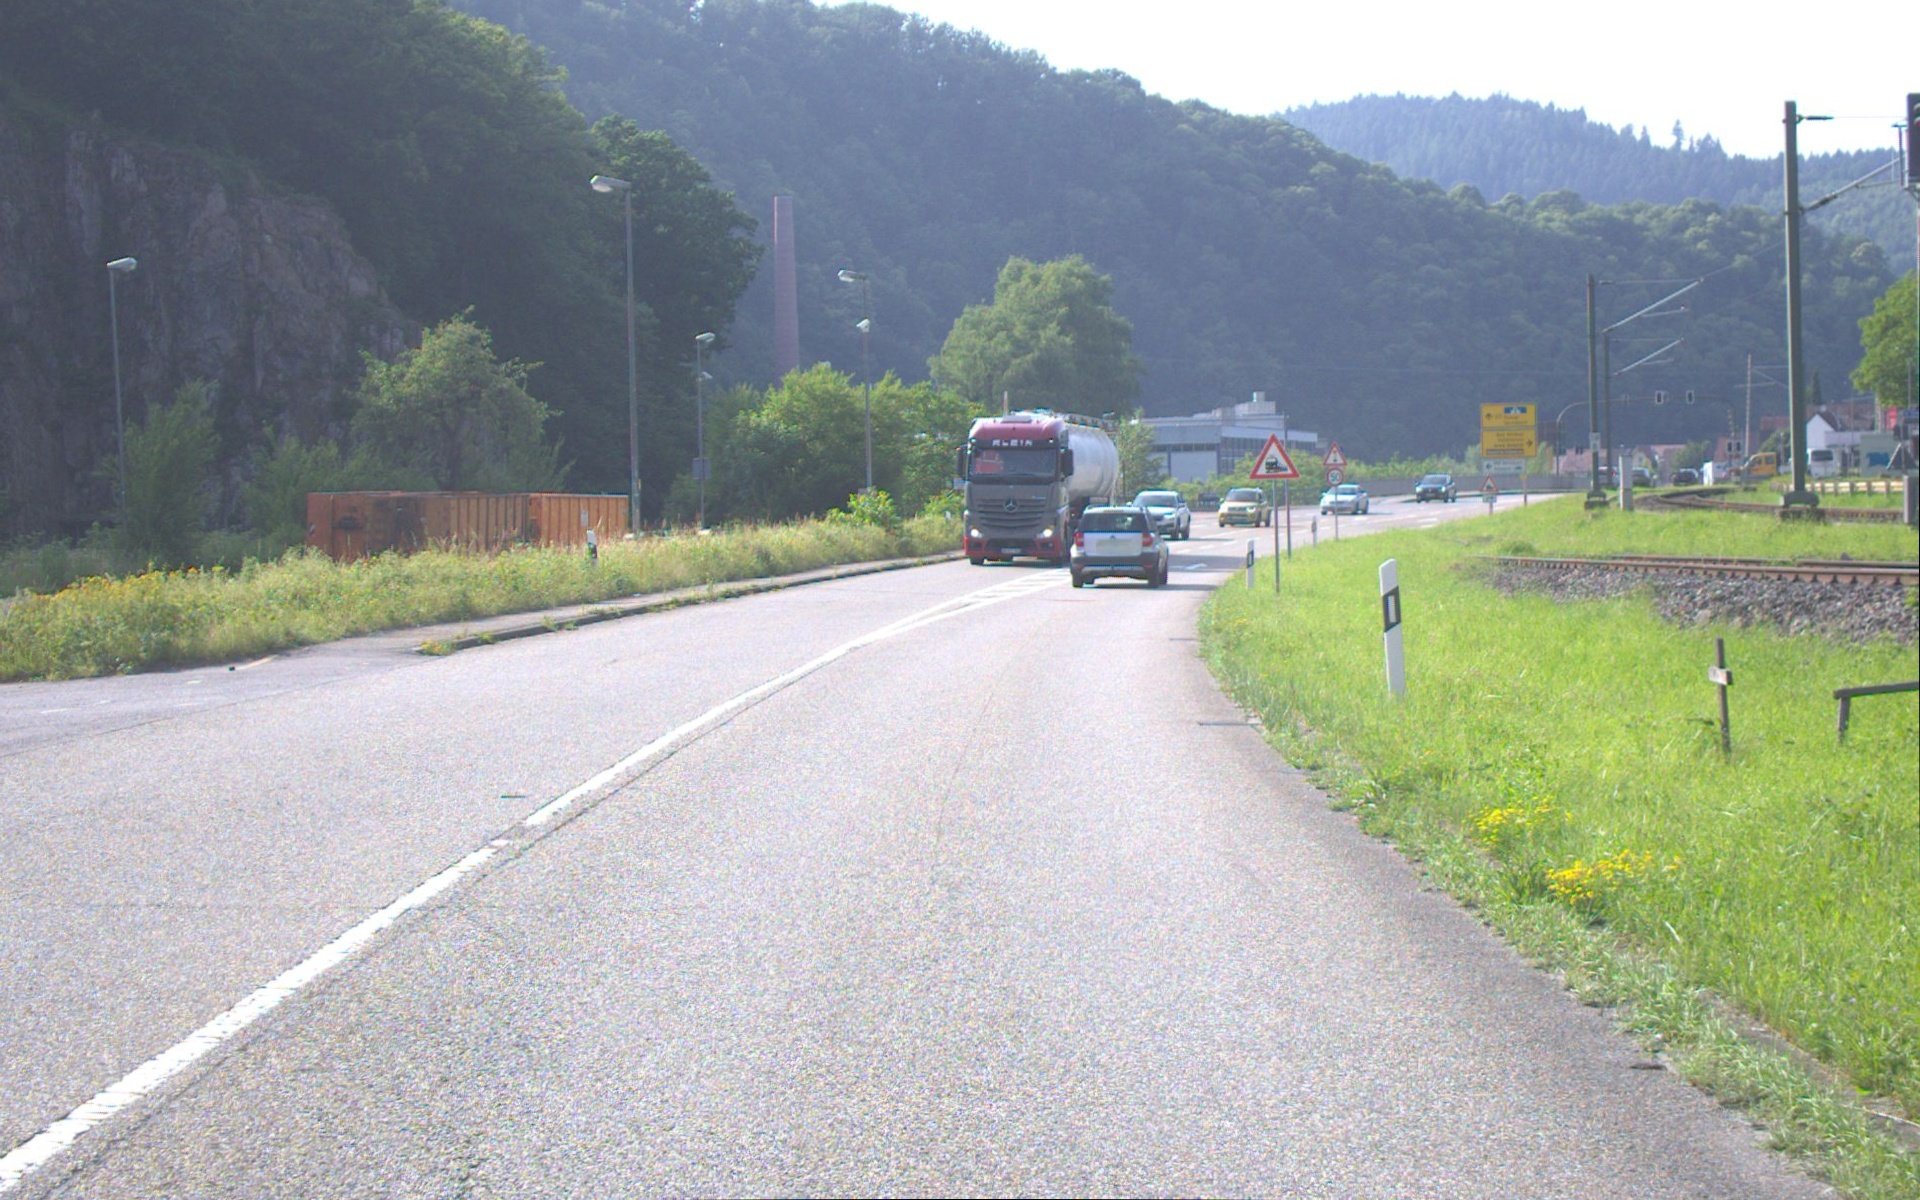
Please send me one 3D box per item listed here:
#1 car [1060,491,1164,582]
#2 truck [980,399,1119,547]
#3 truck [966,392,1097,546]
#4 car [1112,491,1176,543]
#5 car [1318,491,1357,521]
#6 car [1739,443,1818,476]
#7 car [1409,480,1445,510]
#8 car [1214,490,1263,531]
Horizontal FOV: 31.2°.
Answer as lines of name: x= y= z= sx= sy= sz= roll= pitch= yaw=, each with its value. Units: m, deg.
car: x=3.135 y=-1.317 z=70.622 sx=1.994 sy=1.717 sz=3.990 roll=-3 pitch=1 yaw=3
truck: x=2.637 y=-3.524 z=96.062 sx=2.750 sy=3.822 sz=14.560 roll=0 pitch=2 yaw=6
truck: x=1.938 y=-3.386 z=89.611 sx=2.750 sy=3.822 sz=8.197 roll=0 pitch=2 yaw=6
car: x=6.490 y=-2.921 z=120.712 sx=1.994 sy=1.752 sz=4.469 roll=1 pitch=2 yaw=6
car: x=18.254 y=-4.552 z=166.107 sx=1.778 sy=1.343 sz=4.510 roll=1 pitch=2 yaw=7
car: x=58.424 y=-10.022 z=245.404 sx=5.281 sy=2.006 sz=1.999 roll=-3 pitch=2 yaw=10
car: x=25.996 y=-5.863 z=191.422 sx=1.848 sy=1.579 sz=4.315 roll=1 pitch=3 yaw=10
car: x=11.426 y=-3.681 z=140.910 sx=1.724 sy=1.619 sz=3.795 roll=1 pitch=2 yaw=9
